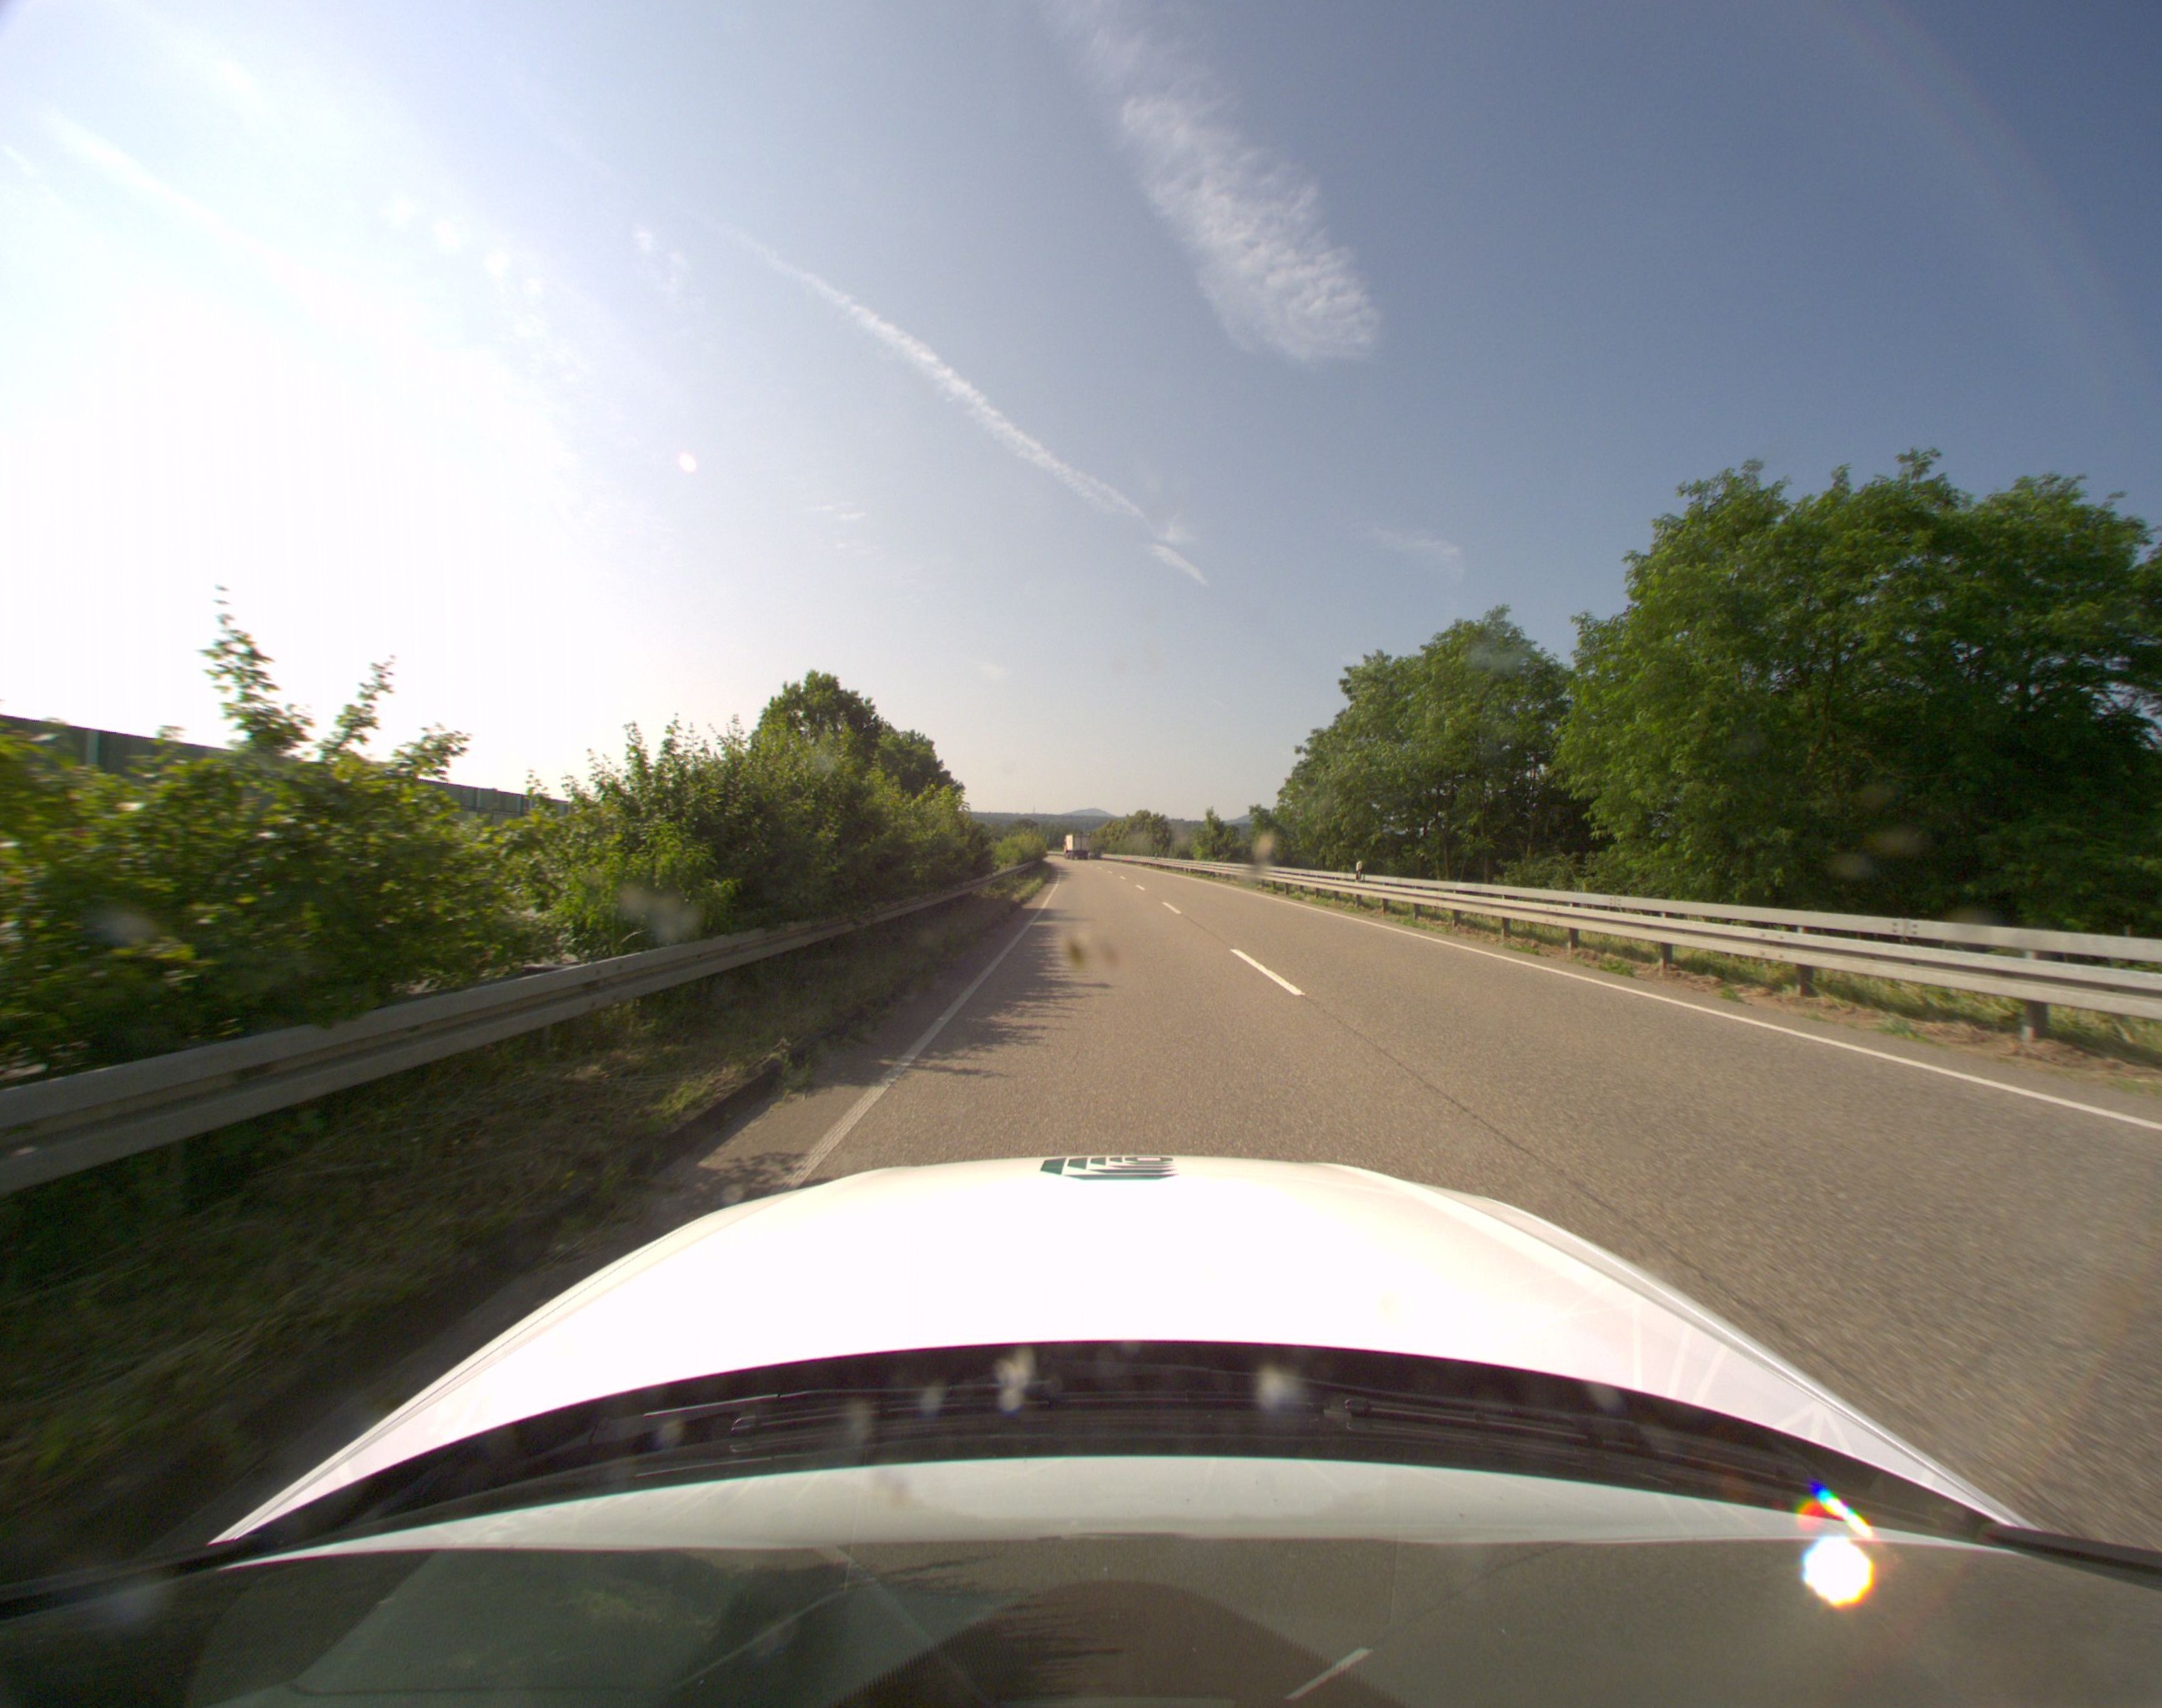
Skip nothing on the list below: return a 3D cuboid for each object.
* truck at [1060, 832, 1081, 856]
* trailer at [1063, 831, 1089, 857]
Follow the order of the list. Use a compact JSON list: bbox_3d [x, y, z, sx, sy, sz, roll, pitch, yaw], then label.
[{"bbox_3d":[-1.709,-1.629,132.839,2.658,3.896,5.631,0,1,-9],"label":"truck"},{"bbox_3d":[-0.806,-1.579,126.816,2.678,3.907,9.643,0,0,-9],"label":"trailer"}]
